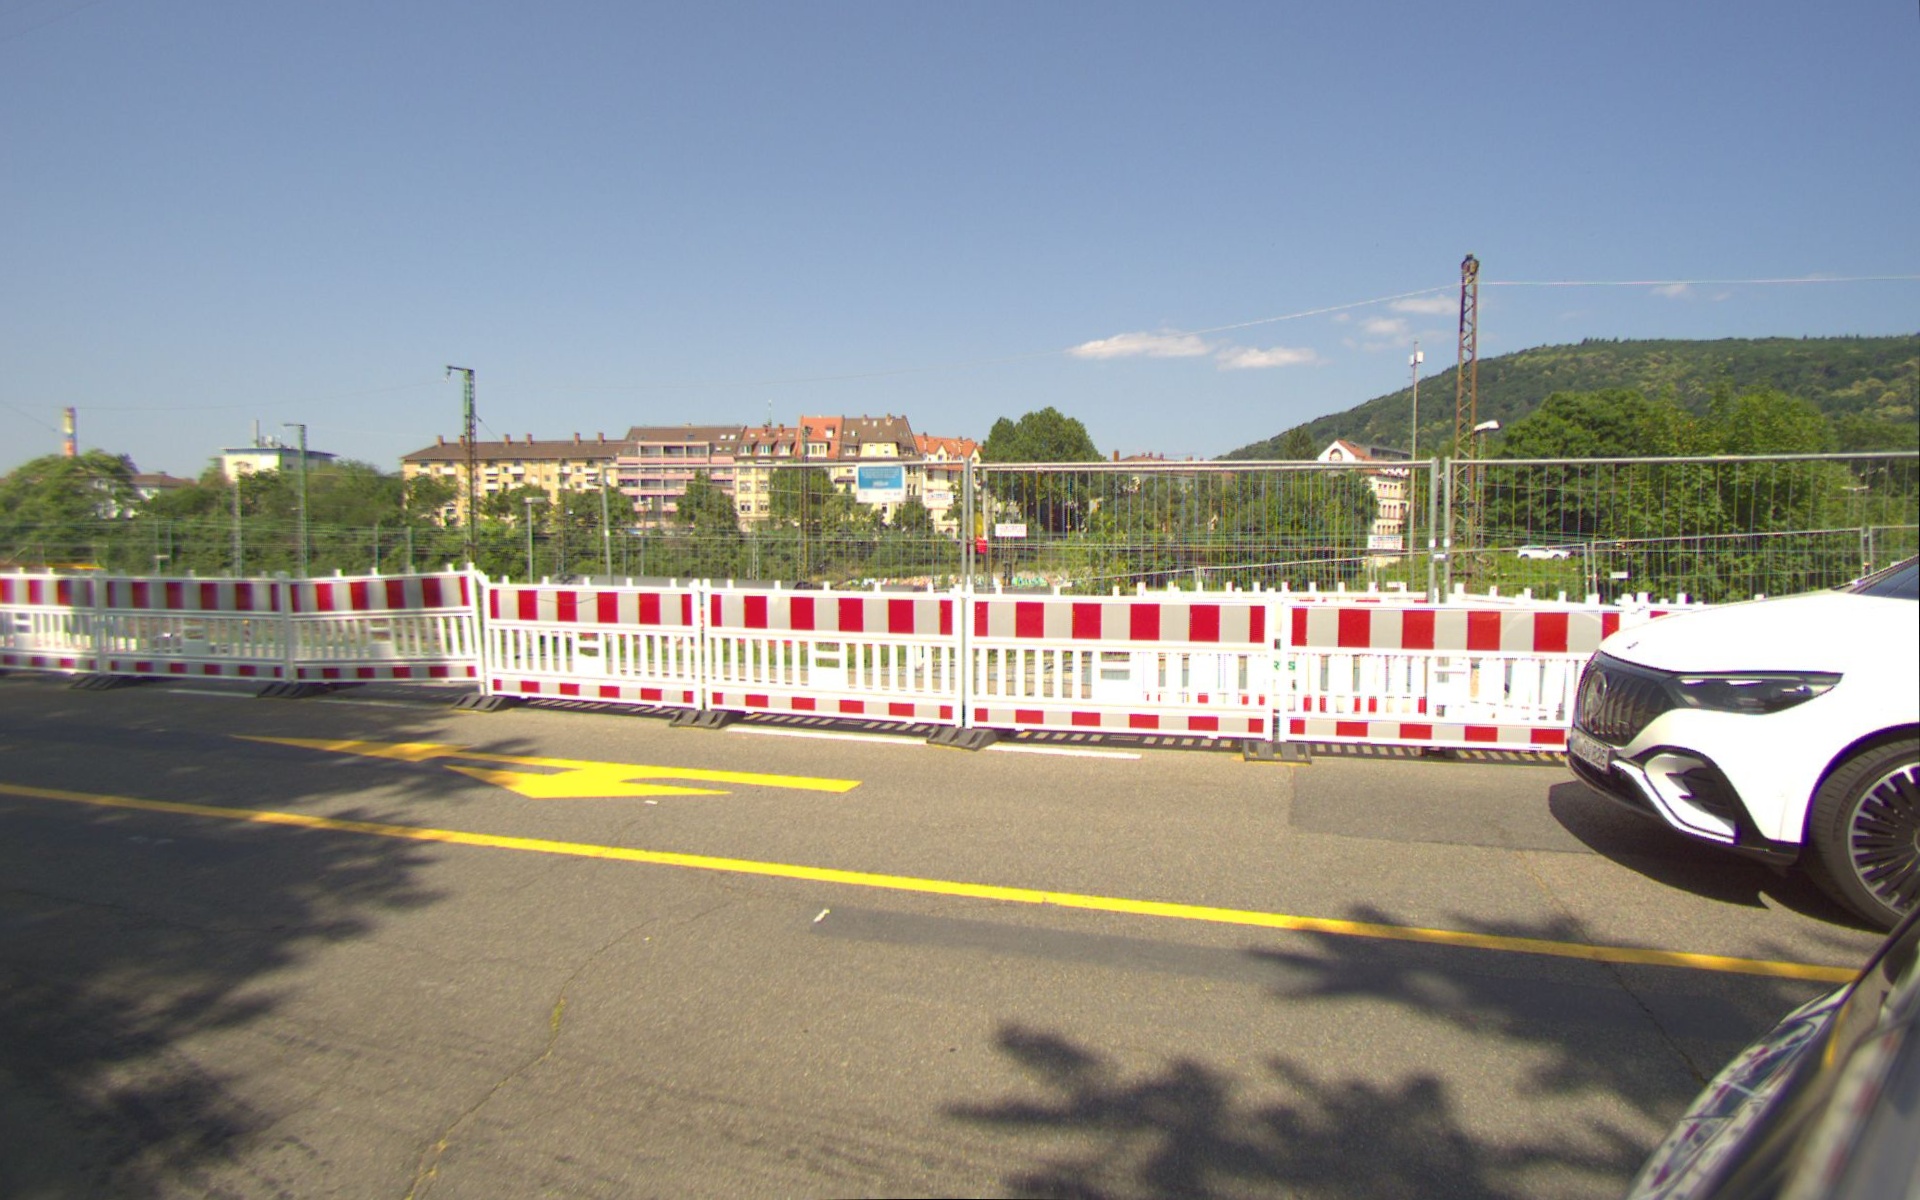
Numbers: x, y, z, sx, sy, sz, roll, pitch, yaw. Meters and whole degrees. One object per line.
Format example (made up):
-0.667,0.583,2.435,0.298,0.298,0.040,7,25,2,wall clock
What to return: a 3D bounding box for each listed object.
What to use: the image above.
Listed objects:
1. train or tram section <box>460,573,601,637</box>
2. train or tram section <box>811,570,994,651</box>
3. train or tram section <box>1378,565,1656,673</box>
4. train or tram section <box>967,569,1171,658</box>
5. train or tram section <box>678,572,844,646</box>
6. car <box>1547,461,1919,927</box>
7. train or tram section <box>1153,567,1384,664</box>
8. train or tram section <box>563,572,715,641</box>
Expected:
-26.581,0.232,62.568,8.881,3.750,2.997,0,1,26,train or tram section
-2.943,0.450,50.472,8.885,3.750,2.996,0,1,27,train or tram section
20.678,0.604,38.267,8.884,3.748,2.996,0,1,27,train or tram section
4.941,0.526,46.386,8.885,3.758,2.996,0,1,27,train or tram section
-10.797,0.395,54.569,8.885,3.750,2.996,0,1,27,train or tram section
5.425,0.312,4.023,4.962,1.664,1.990,1,3,17,car
12.815,0.542,42.313,8.885,3.761,2.996,0,1,27,train or tram section
-18.641,0.307,58.598,8.881,3.750,2.997,0,1,26,train or tram section
